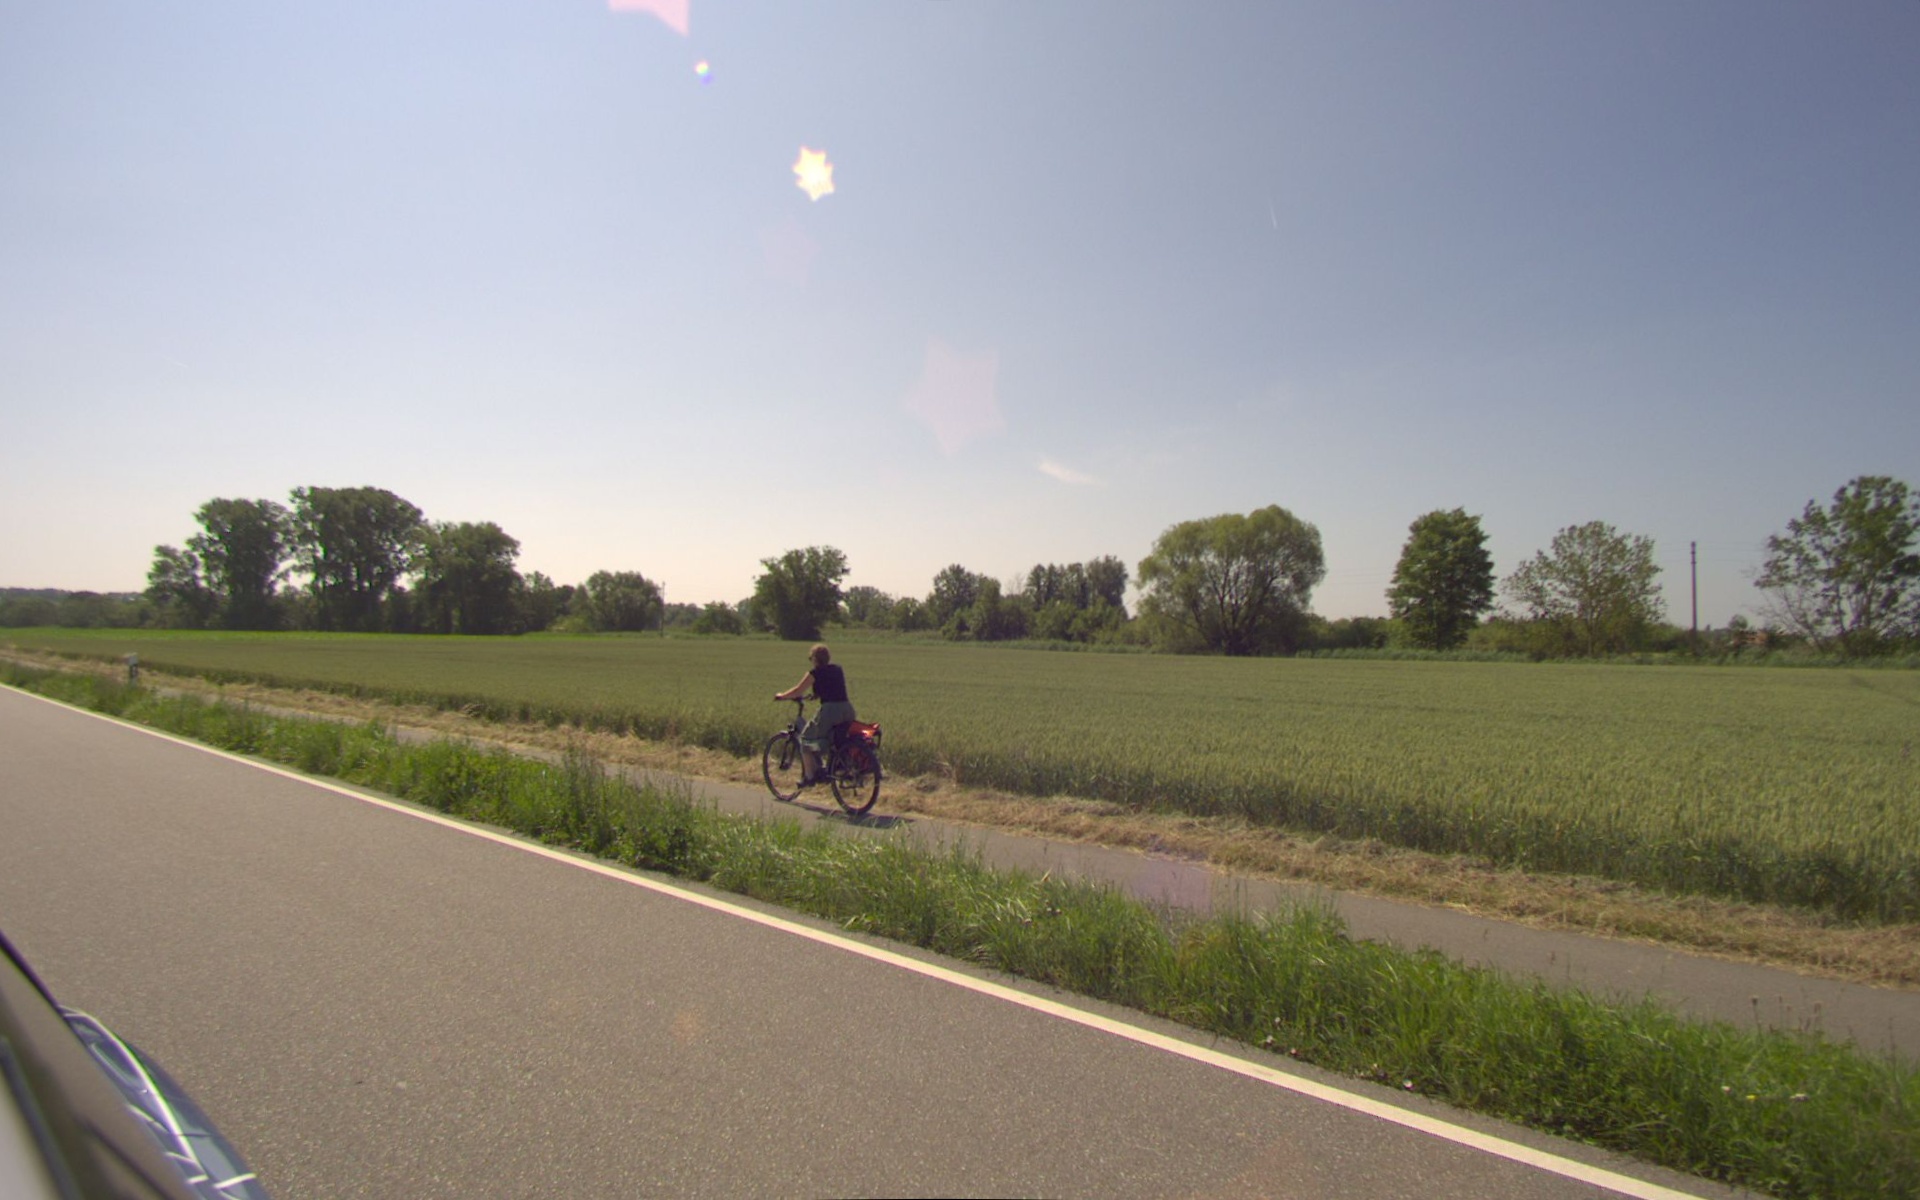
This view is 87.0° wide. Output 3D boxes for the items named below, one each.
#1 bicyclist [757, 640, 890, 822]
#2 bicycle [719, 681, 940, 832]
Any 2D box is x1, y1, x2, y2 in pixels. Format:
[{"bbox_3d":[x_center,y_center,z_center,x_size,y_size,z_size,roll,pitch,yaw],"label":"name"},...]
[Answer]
[{"bbox_3d":[-1.368,1.256,10.142,1.088,1.685,0.752,-1,-4,41],"label":"bicyclist"},{"bbox_3d":[-1.354,1.476,10.102,2.392,1.245,0.751,-1,-4,41],"label":"bicycle"}]
